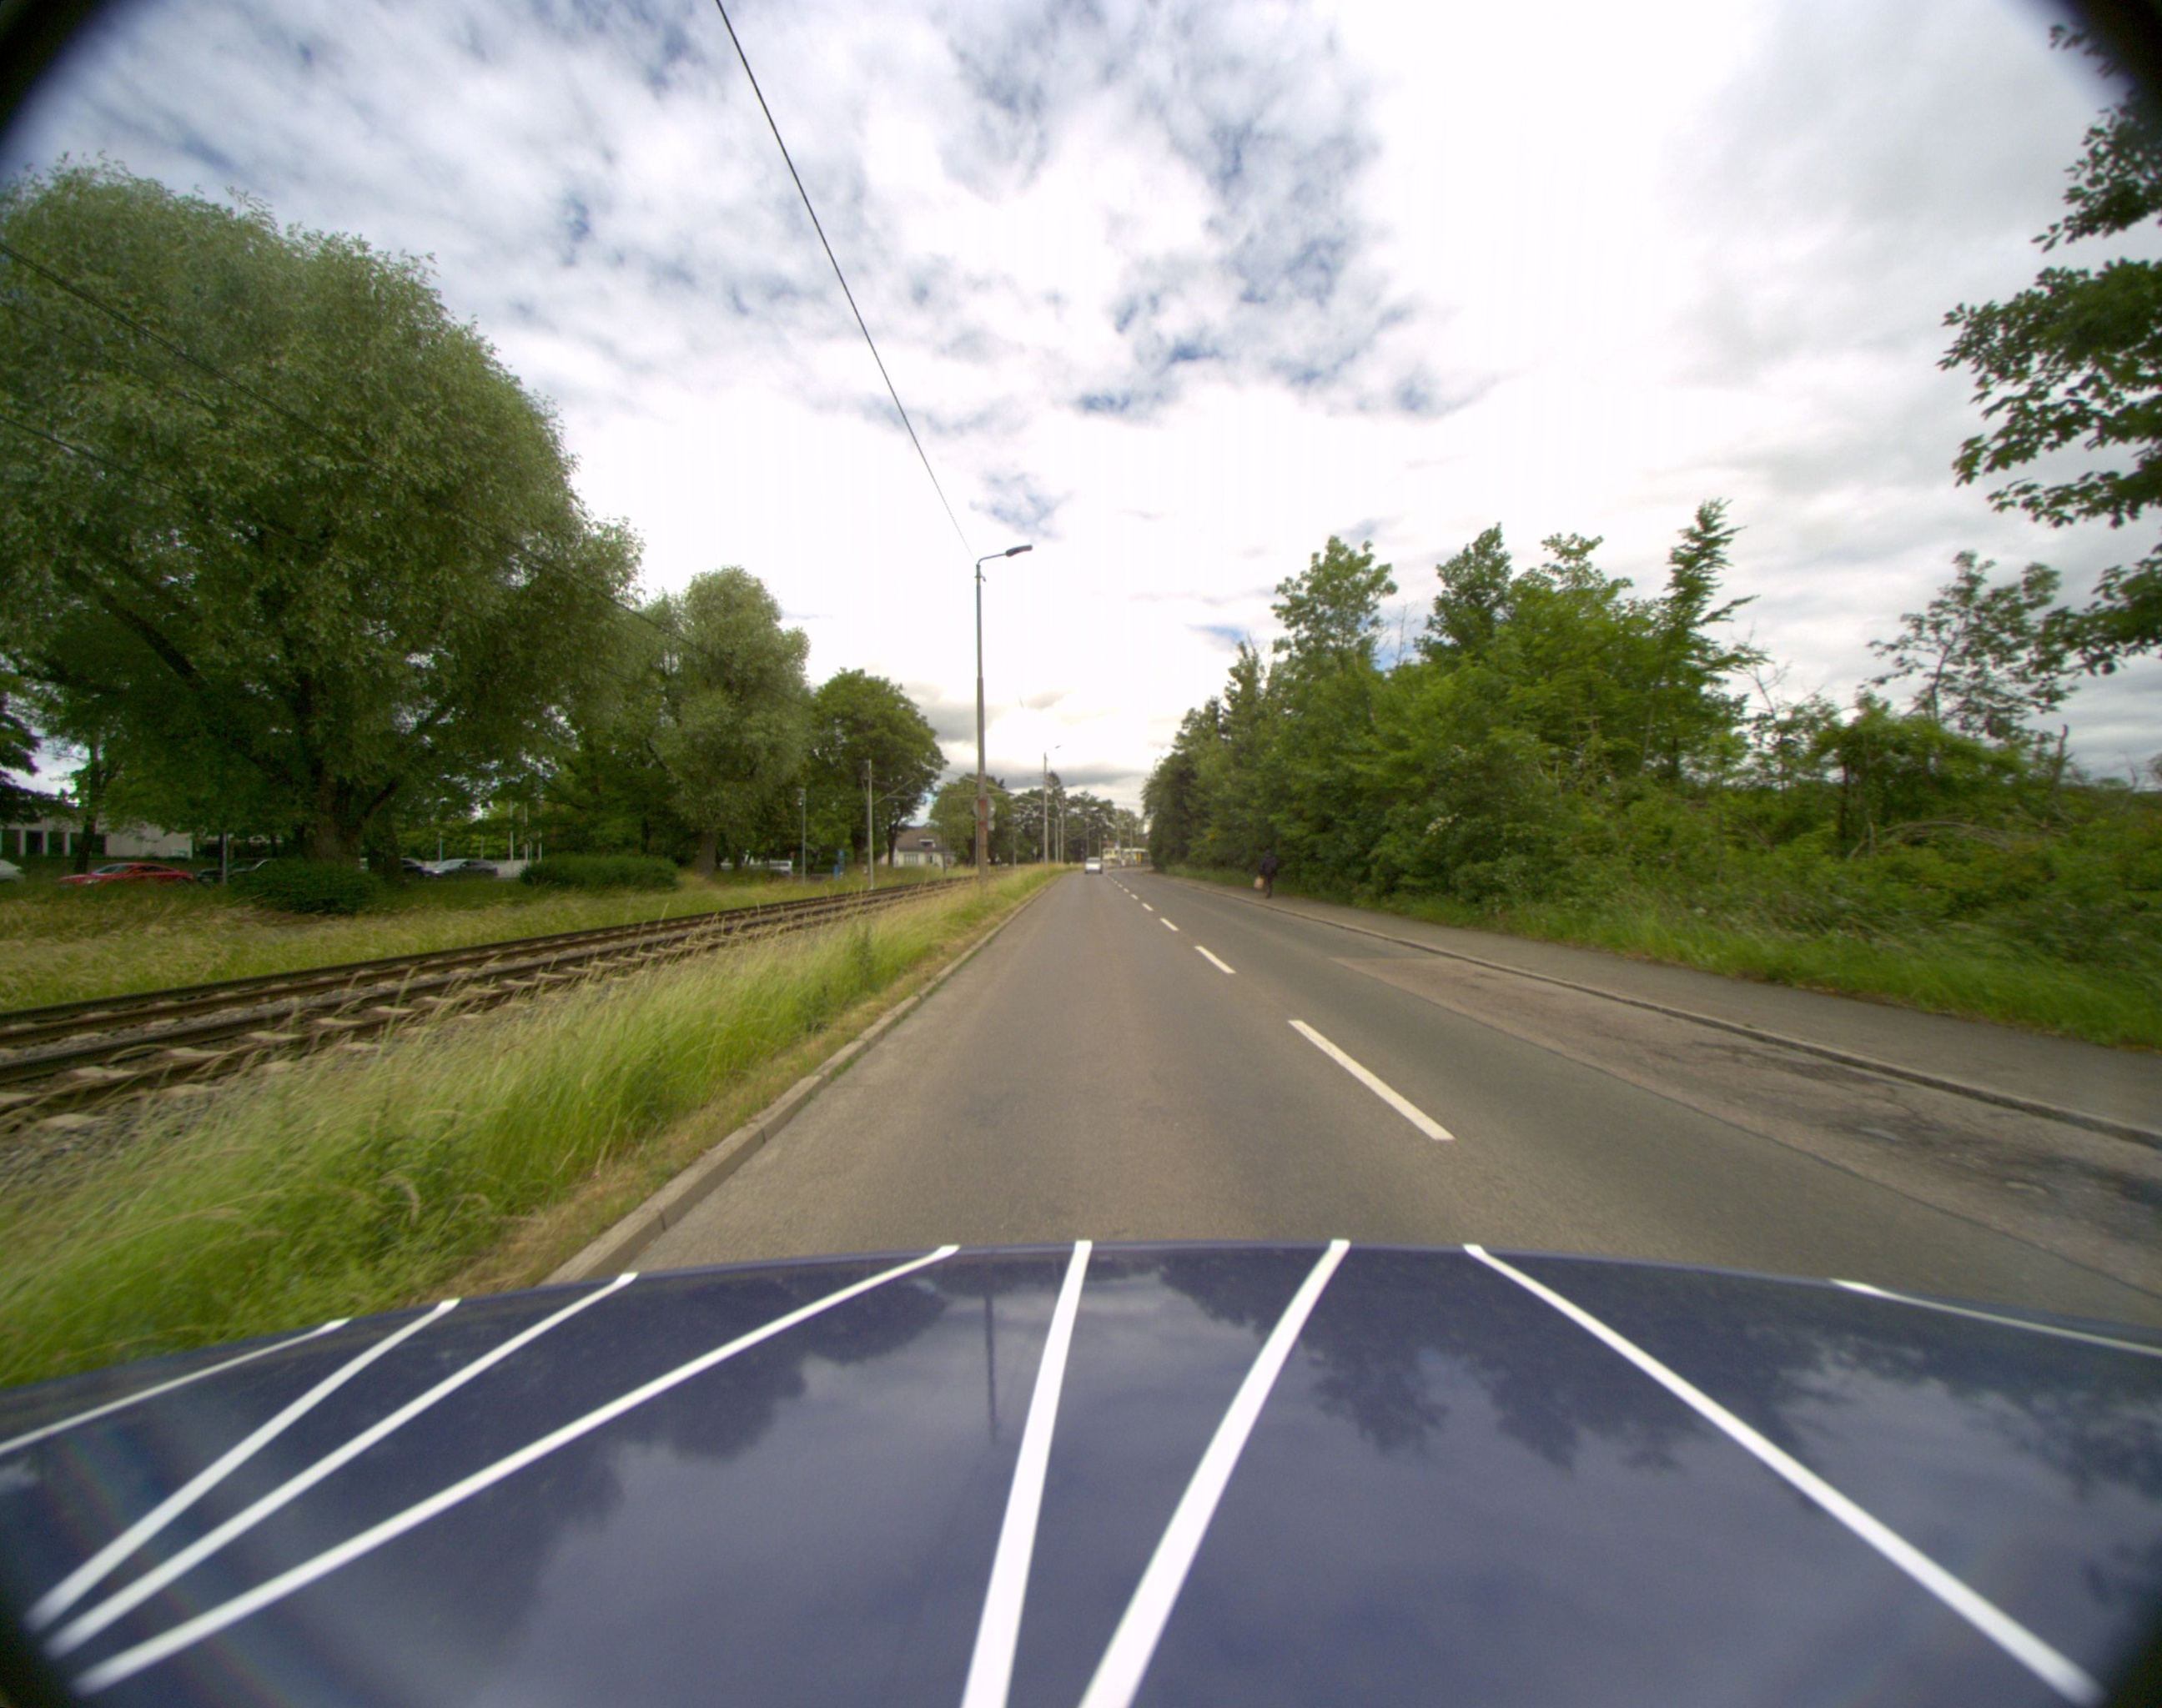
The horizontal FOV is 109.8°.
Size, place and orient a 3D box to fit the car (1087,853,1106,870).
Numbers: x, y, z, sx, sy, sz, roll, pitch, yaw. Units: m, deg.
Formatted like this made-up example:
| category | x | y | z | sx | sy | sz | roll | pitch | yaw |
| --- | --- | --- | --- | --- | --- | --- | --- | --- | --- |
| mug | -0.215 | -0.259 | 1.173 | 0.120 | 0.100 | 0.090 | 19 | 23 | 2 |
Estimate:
| category | x | y | z | sx | sy | sz | roll | pitch | yaw |
| --- | --- | --- | --- | --- | --- | --- | --- | --- | --- |
| car | 1.618 | 0.792 | 76.602 | 1.733 | 1.638 | 4.228 | -2 | -1 | 3 |

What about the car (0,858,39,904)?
| category | x | y | z | sx | sy | sz | roll | pitch | yaw |
| --- | --- | --- | --- | --- | --- | --- | --- | --- | --- |
| car | -40.649 | 1.020 | 26.761 | 1.998 | 1.690 | 4.229 | -2 | 0 | 1 |

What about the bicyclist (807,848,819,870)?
| category | x | y | z | sx | sy | sz | roll | pitch | yaw |
| --- | --- | --- | --- | --- | --- | --- | --- | --- | --- |
| bicyclist | -20.409 | 0.374 | 57.875 | 0.582 | 1.686 | 0.935 | -1 | 1 | -3 |

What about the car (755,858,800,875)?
| category | x | y | z | sx | sy | sz | roll | pitch | yaw |
| --- | --- | --- | --- | --- | --- | --- | --- | --- | --- |
| car | -34.335 | 1.425 | 85.990 | 4.719 | 1.850 | 1.914 | -1 | 0 | -23 |

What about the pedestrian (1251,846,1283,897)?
| category | x | y | z | sx | sy | sz | roll | pitch | yaw |
| --- | --- | --- | --- | --- | --- | --- | --- | --- | --- |
| pedestrian | 6.487 | 0.620 | 26.526 | 0.870 | 1.759 | 0.789 | 0 | 0 | -4 |

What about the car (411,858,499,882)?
| category | x | y | z | sx | sy | sz | roll | pitch | yaw |
| --- | --- | --- | --- | --- | --- | --- | --- | --- | --- |
| car | -40.420 | 1.001 | 49.196 | 1.998 | 1.434 | 4.346 | -1 | 0 | 1 |

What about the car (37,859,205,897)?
| category | x | y | z | sx | sy | sz | roll | pitch | yaw |
| --- | --- | --- | --- | --- | --- | --- | --- | --- | --- |
| car | -40.540 | 0.960 | 32.261 | 1.998 | 1.434 | 4.000 | -1 | 0 | 1 |

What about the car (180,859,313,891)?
| category | x | y | z | sx | sy | sz | roll | pitch | yaw |
| --- | --- | --- | --- | --- | --- | --- | --- | --- | --- |
| car | -40.421 | 0.983 | 36.979 | 1.998 | 1.434 | 4.000 | -1 | 0 | 1 |

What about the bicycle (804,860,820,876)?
| category | x | y | z | sx | sy | sz | roll | pitch | yaw |
| --- | --- | --- | --- | --- | --- | --- | --- | --- | --- |
| bicycle | -20.383 | 1.053 | 57.691 | 0.582 | 1.239 | 1.929 | -1 | 0 | -3 |
